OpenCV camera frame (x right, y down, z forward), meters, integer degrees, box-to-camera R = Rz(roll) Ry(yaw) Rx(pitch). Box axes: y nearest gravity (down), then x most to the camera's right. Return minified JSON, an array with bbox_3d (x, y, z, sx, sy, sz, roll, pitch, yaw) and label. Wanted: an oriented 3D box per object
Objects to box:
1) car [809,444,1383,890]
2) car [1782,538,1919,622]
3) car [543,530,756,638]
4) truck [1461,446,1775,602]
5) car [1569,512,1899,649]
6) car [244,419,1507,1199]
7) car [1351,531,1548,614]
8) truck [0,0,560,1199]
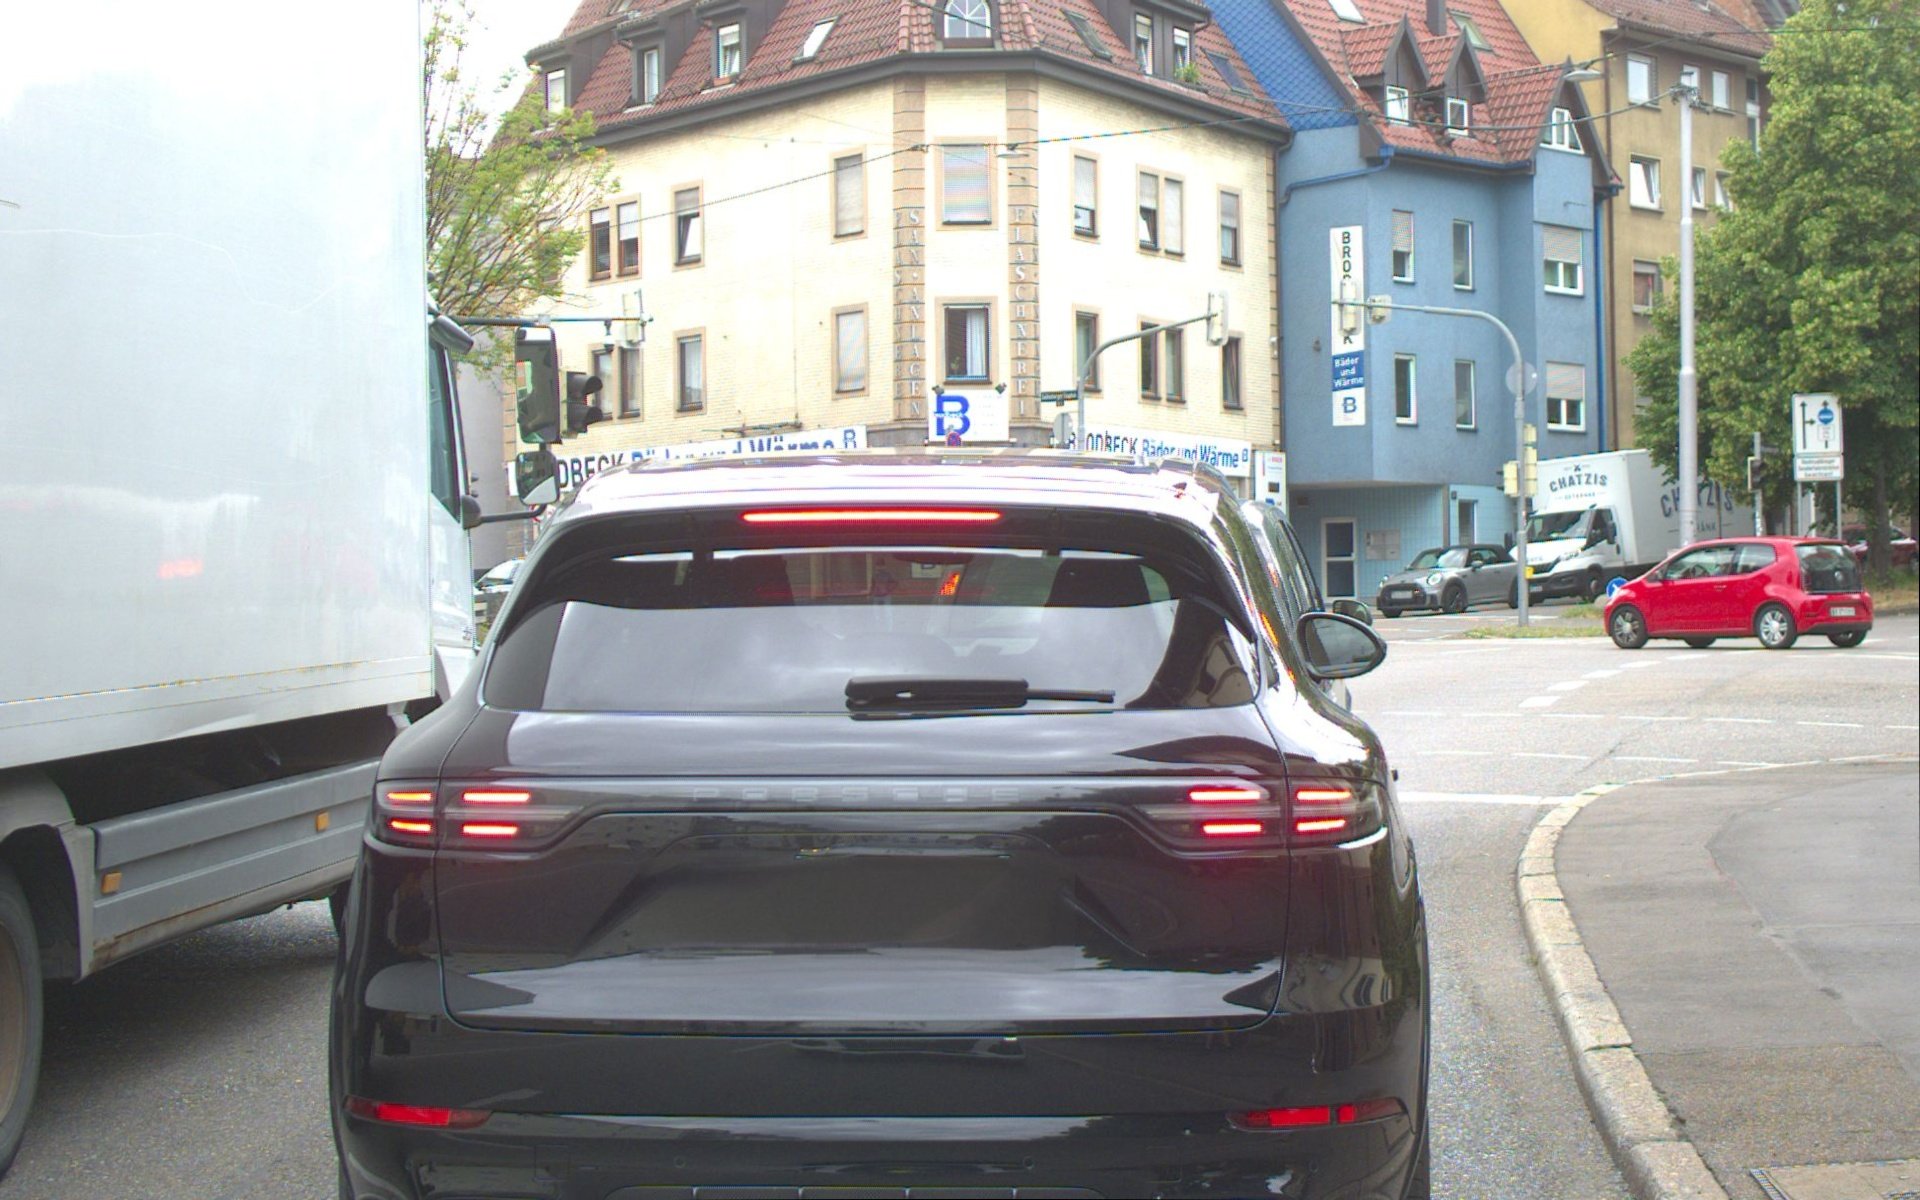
[{"bbox_3d":[0.747,0.225,15.071,1.994,1.678,3.998,0,1,10],"label":"car"},{"bbox_3d":[22.612,-0.487,86.476,1.999,2.007,3.990,2,1,43],"label":"car"},{"bbox_3d":[-6.023,-0.320,66.433,1.994,2.007,3.998,1,0,-44],"label":"car"},{"bbox_3d":[15.130,-1.682,78.500,2.880,3.328,8.772,2,1,41],"label":"truck"},{"bbox_3d":[10.093,-0.273,45.035,1.710,1.656,3.999,1,1,-38],"label":"car"},{"bbox_3d":[-0.239,0.501,7.397,1.978,1.678,4.001,0,2,-3],"label":"car"},{"bbox_3d":[10.233,-0.580,71.797,3.989,1.678,1.999,-1,1,-42],"label":"car"},{"bbox_3d":[-3.187,-0.507,9.169,2.769,3.562,8.063,0,1,4],"label":"truck"}]
